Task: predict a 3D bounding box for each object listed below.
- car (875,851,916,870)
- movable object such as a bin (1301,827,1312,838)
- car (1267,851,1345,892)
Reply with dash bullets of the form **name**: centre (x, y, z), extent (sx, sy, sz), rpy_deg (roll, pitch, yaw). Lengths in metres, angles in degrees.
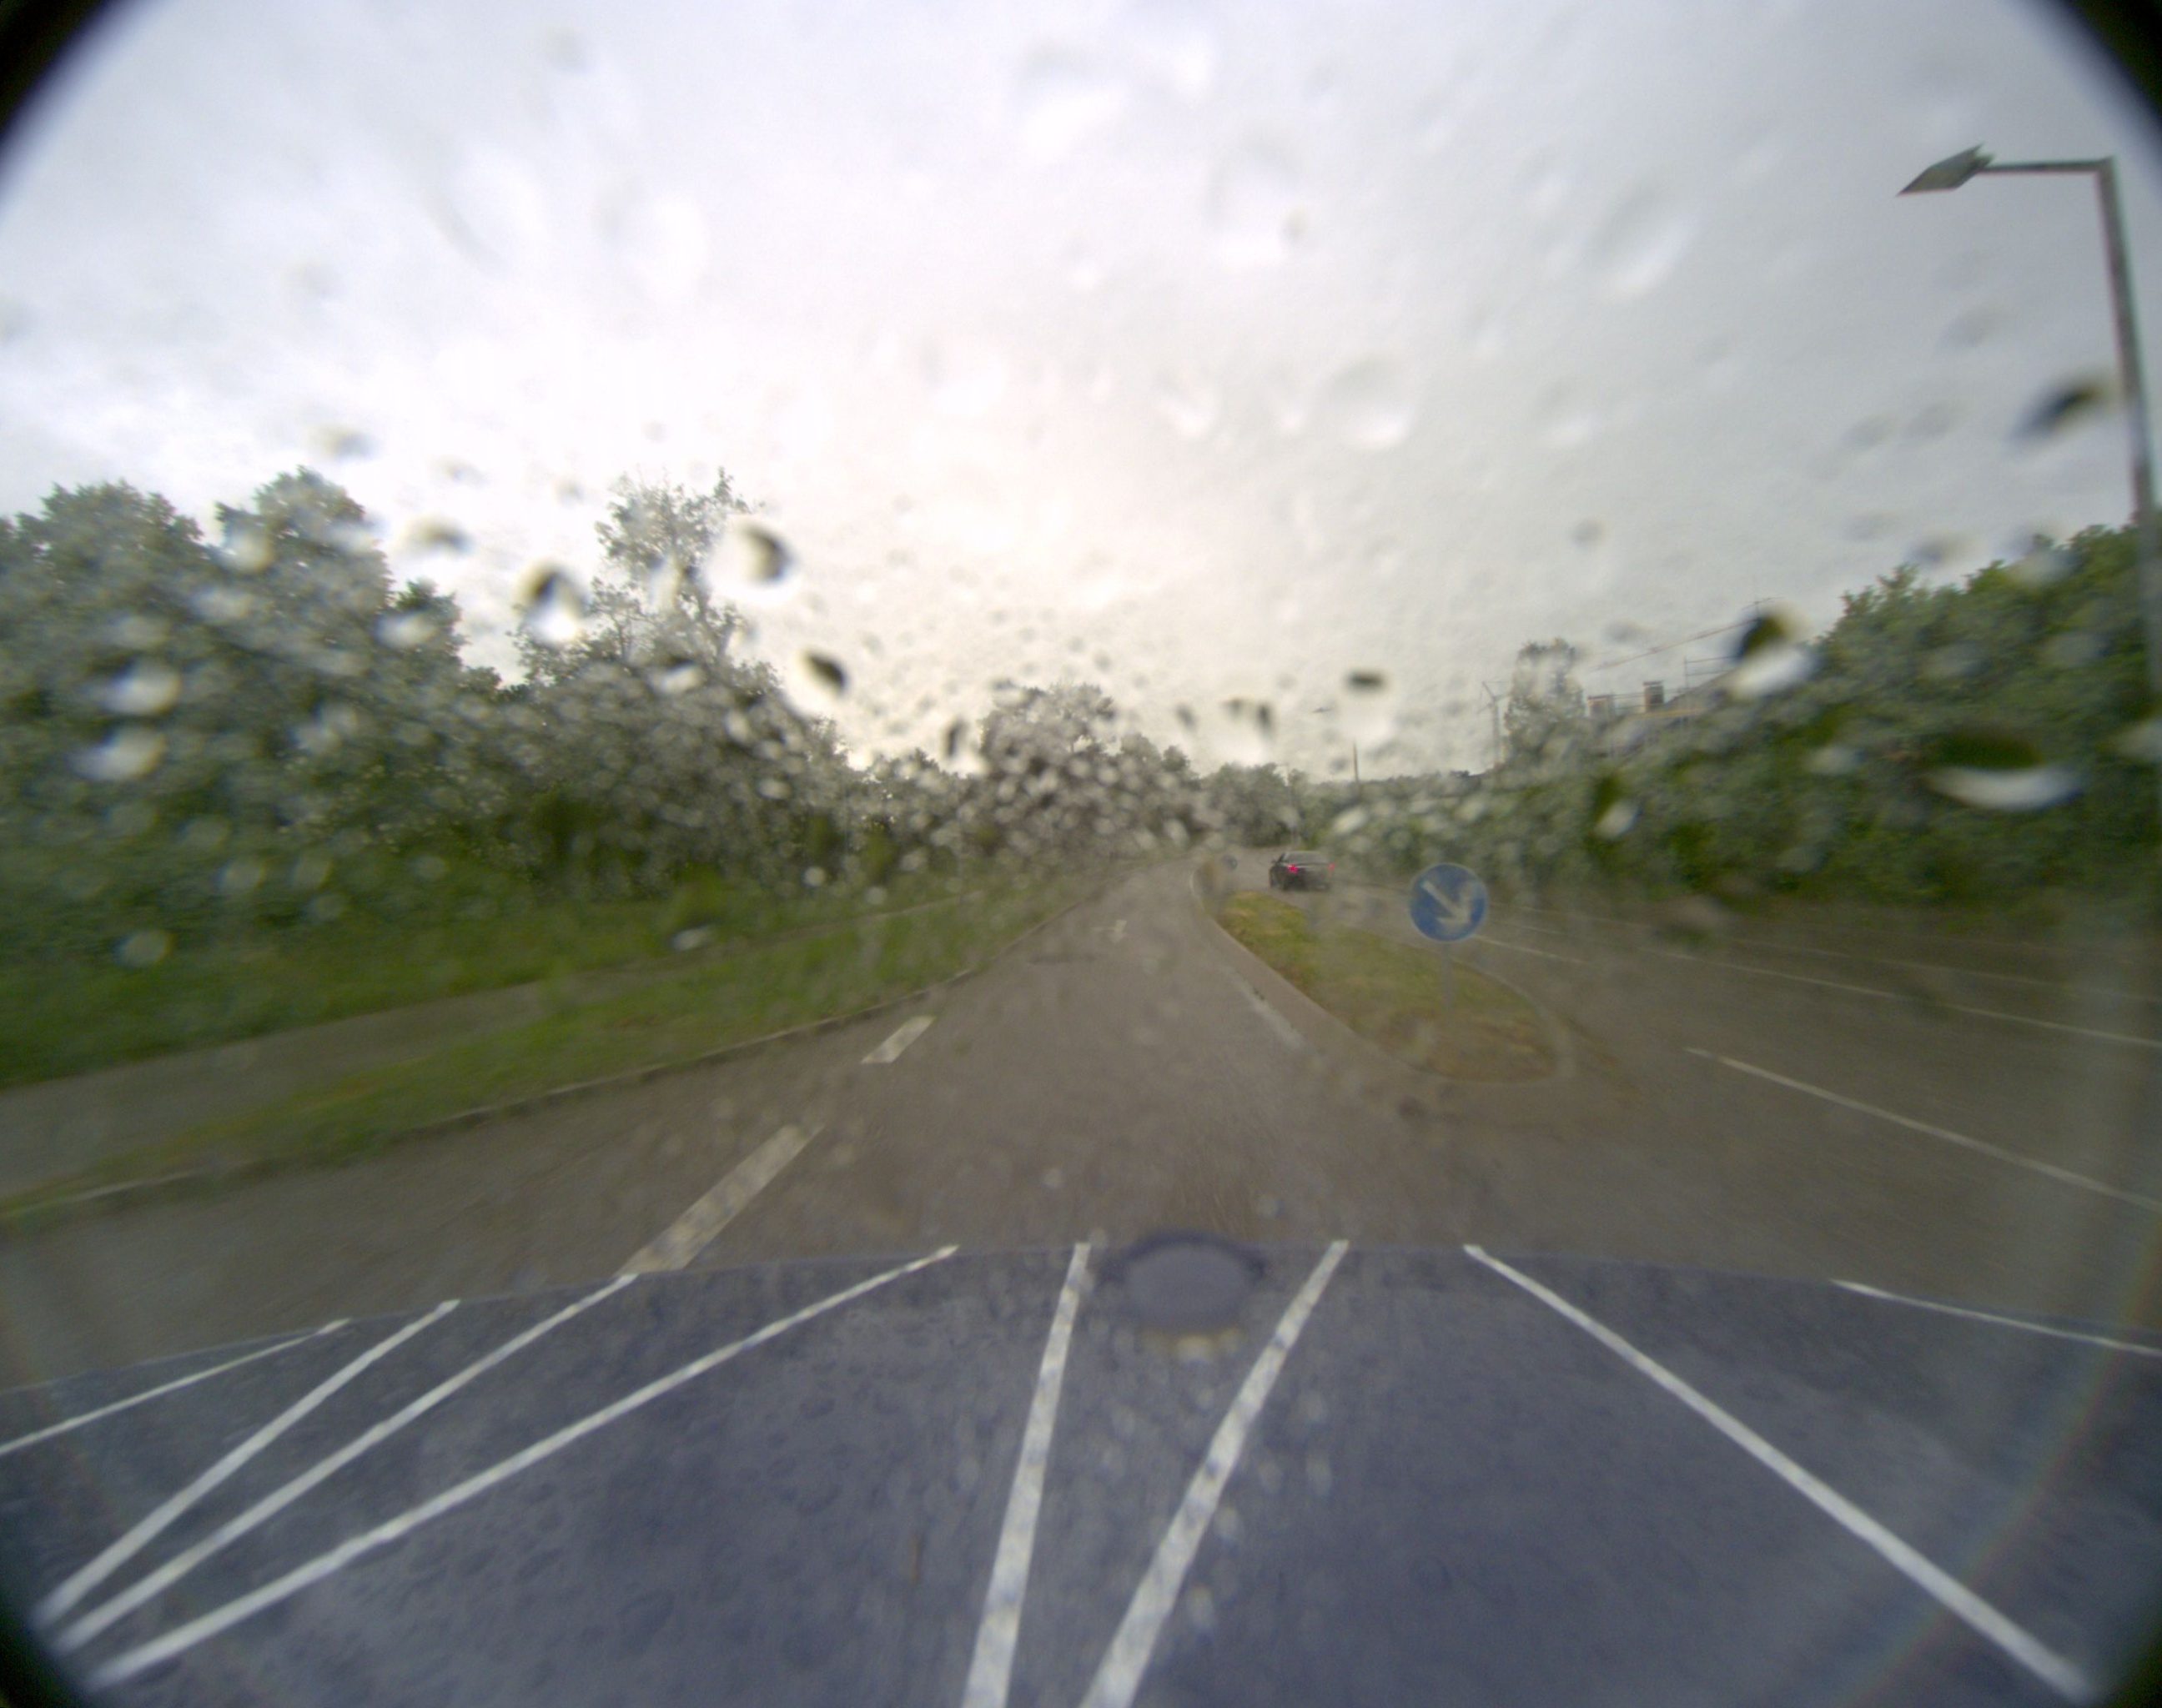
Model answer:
- **car**: centre (-18.645, 0.637, 76.369), extent (1.827, 1.643, 4.006), rpy_deg (-2, 1, 24)
- **movable object such as a bin**: centre (30.011, -2.883, 101.146), extent (1.132, 1.314, 1.364), rpy_deg (-7, -1, 27)
- **car**: centre (8.285, 0.589, 28.380), extent (1.972, 1.406, 4.417), rpy_deg (-1, 0, 5)
